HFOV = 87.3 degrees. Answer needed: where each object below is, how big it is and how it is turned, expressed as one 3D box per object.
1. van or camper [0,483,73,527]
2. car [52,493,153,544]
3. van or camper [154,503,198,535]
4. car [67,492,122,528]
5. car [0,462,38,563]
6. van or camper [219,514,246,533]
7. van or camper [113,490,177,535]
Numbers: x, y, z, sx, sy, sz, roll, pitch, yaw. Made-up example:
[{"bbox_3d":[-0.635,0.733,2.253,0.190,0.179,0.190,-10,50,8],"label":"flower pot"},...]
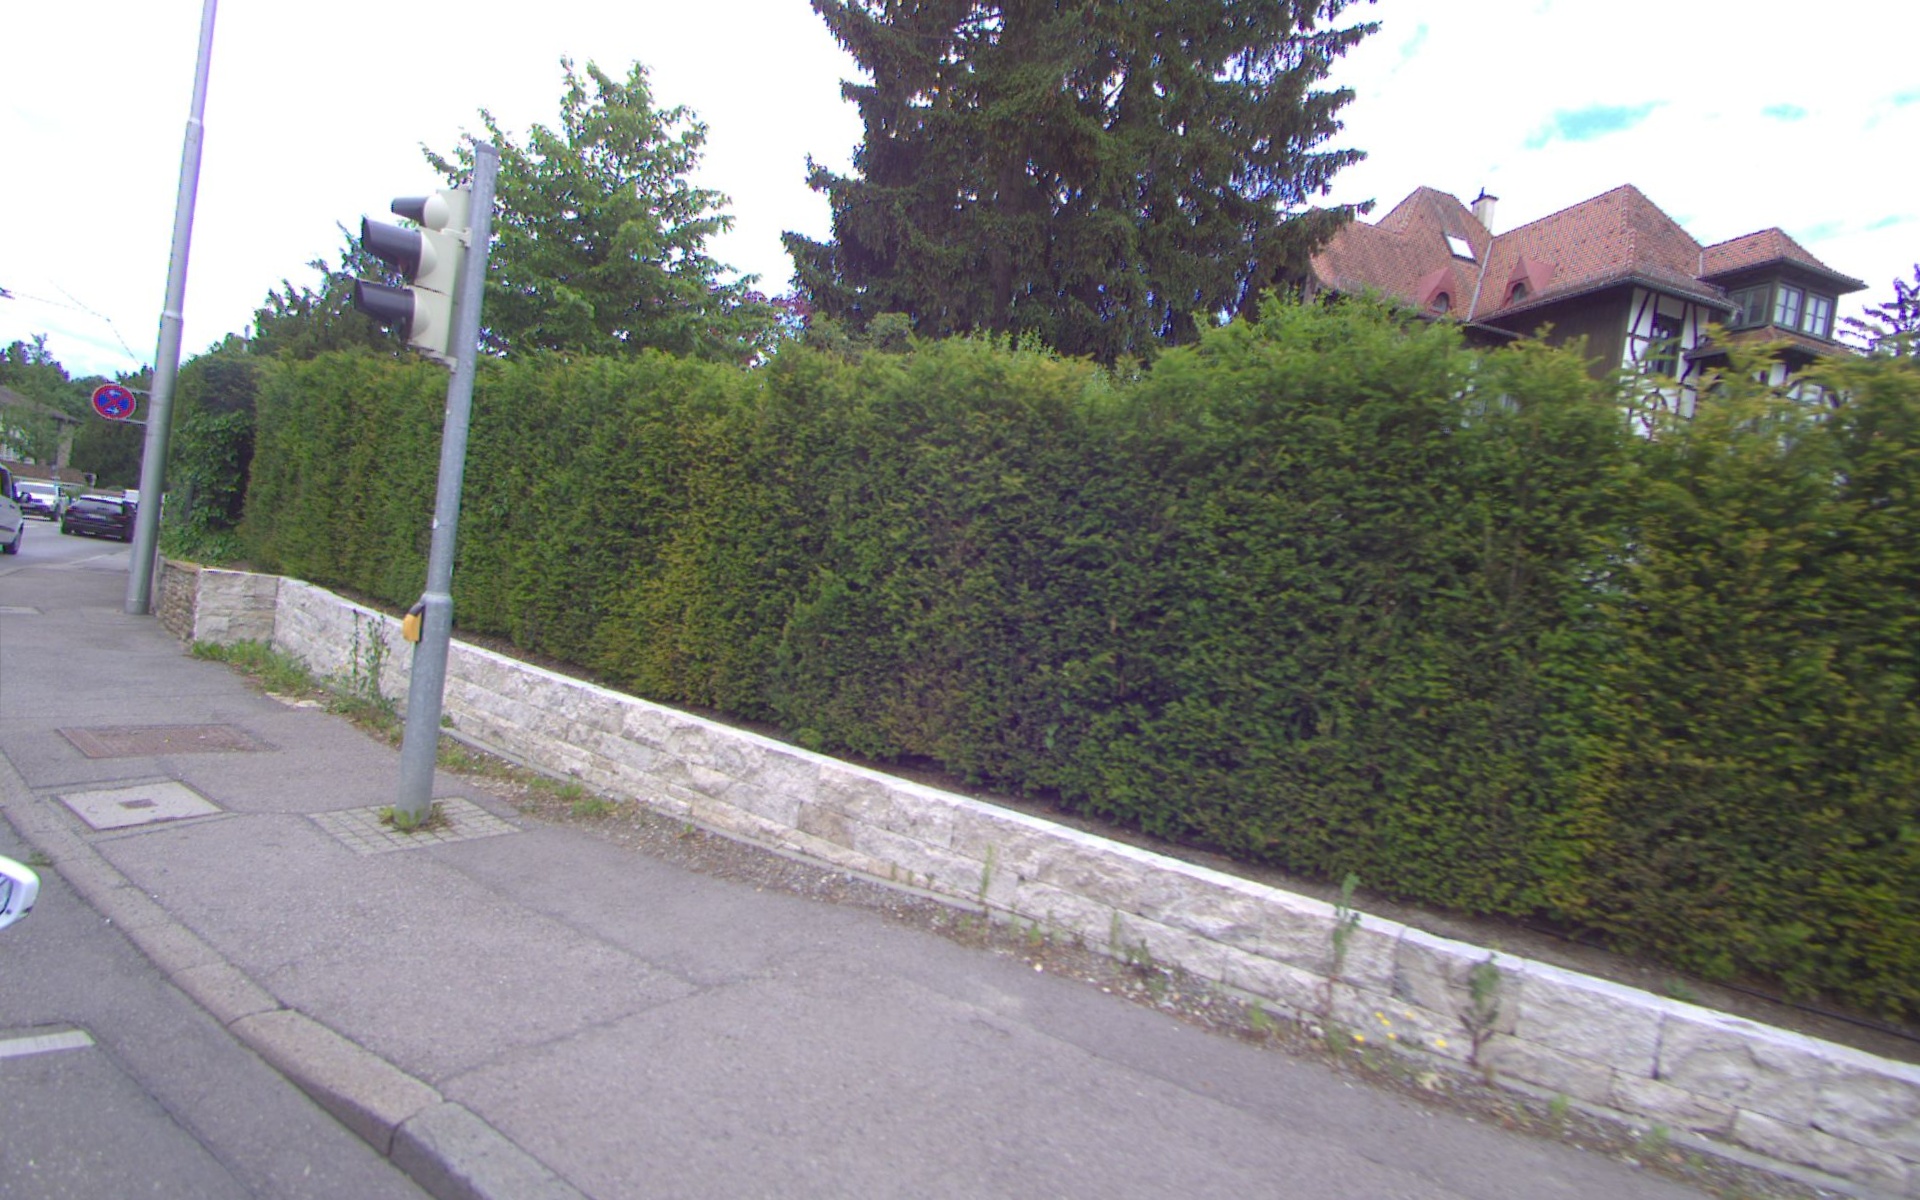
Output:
[{"bbox_3d":[-40.723,-4.170,44.336,1.982,1.627,3.960,6,1,-36],"label":"van or camper"},{"bbox_3d":[-30.365,-2.855,35.757,1.979,1.421,3.967,7,-1,-31],"label":"car"},{"bbox_3d":[-48.038,-4.972,61.619,1.984,1.649,3.957,6,1,-39],"label":"van or camper"},{"bbox_3d":[-52.733,-5.459,61.348,1.983,1.838,3.962,8,-1,-35],"label":"car"},{"bbox_3d":[-20.052,-1.923,19.896,1.950,1.976,4.181,13,-3,-36],"label":"car"},{"bbox_3d":[-76.954,-8.090,106.407,1.980,1.672,3.964,6,0,-33],"label":"van or camper"},{"bbox_3d":[-41.027,-4.380,50.733,1.980,1.911,3.964,6,1,-34],"label":"van or camper"}]
